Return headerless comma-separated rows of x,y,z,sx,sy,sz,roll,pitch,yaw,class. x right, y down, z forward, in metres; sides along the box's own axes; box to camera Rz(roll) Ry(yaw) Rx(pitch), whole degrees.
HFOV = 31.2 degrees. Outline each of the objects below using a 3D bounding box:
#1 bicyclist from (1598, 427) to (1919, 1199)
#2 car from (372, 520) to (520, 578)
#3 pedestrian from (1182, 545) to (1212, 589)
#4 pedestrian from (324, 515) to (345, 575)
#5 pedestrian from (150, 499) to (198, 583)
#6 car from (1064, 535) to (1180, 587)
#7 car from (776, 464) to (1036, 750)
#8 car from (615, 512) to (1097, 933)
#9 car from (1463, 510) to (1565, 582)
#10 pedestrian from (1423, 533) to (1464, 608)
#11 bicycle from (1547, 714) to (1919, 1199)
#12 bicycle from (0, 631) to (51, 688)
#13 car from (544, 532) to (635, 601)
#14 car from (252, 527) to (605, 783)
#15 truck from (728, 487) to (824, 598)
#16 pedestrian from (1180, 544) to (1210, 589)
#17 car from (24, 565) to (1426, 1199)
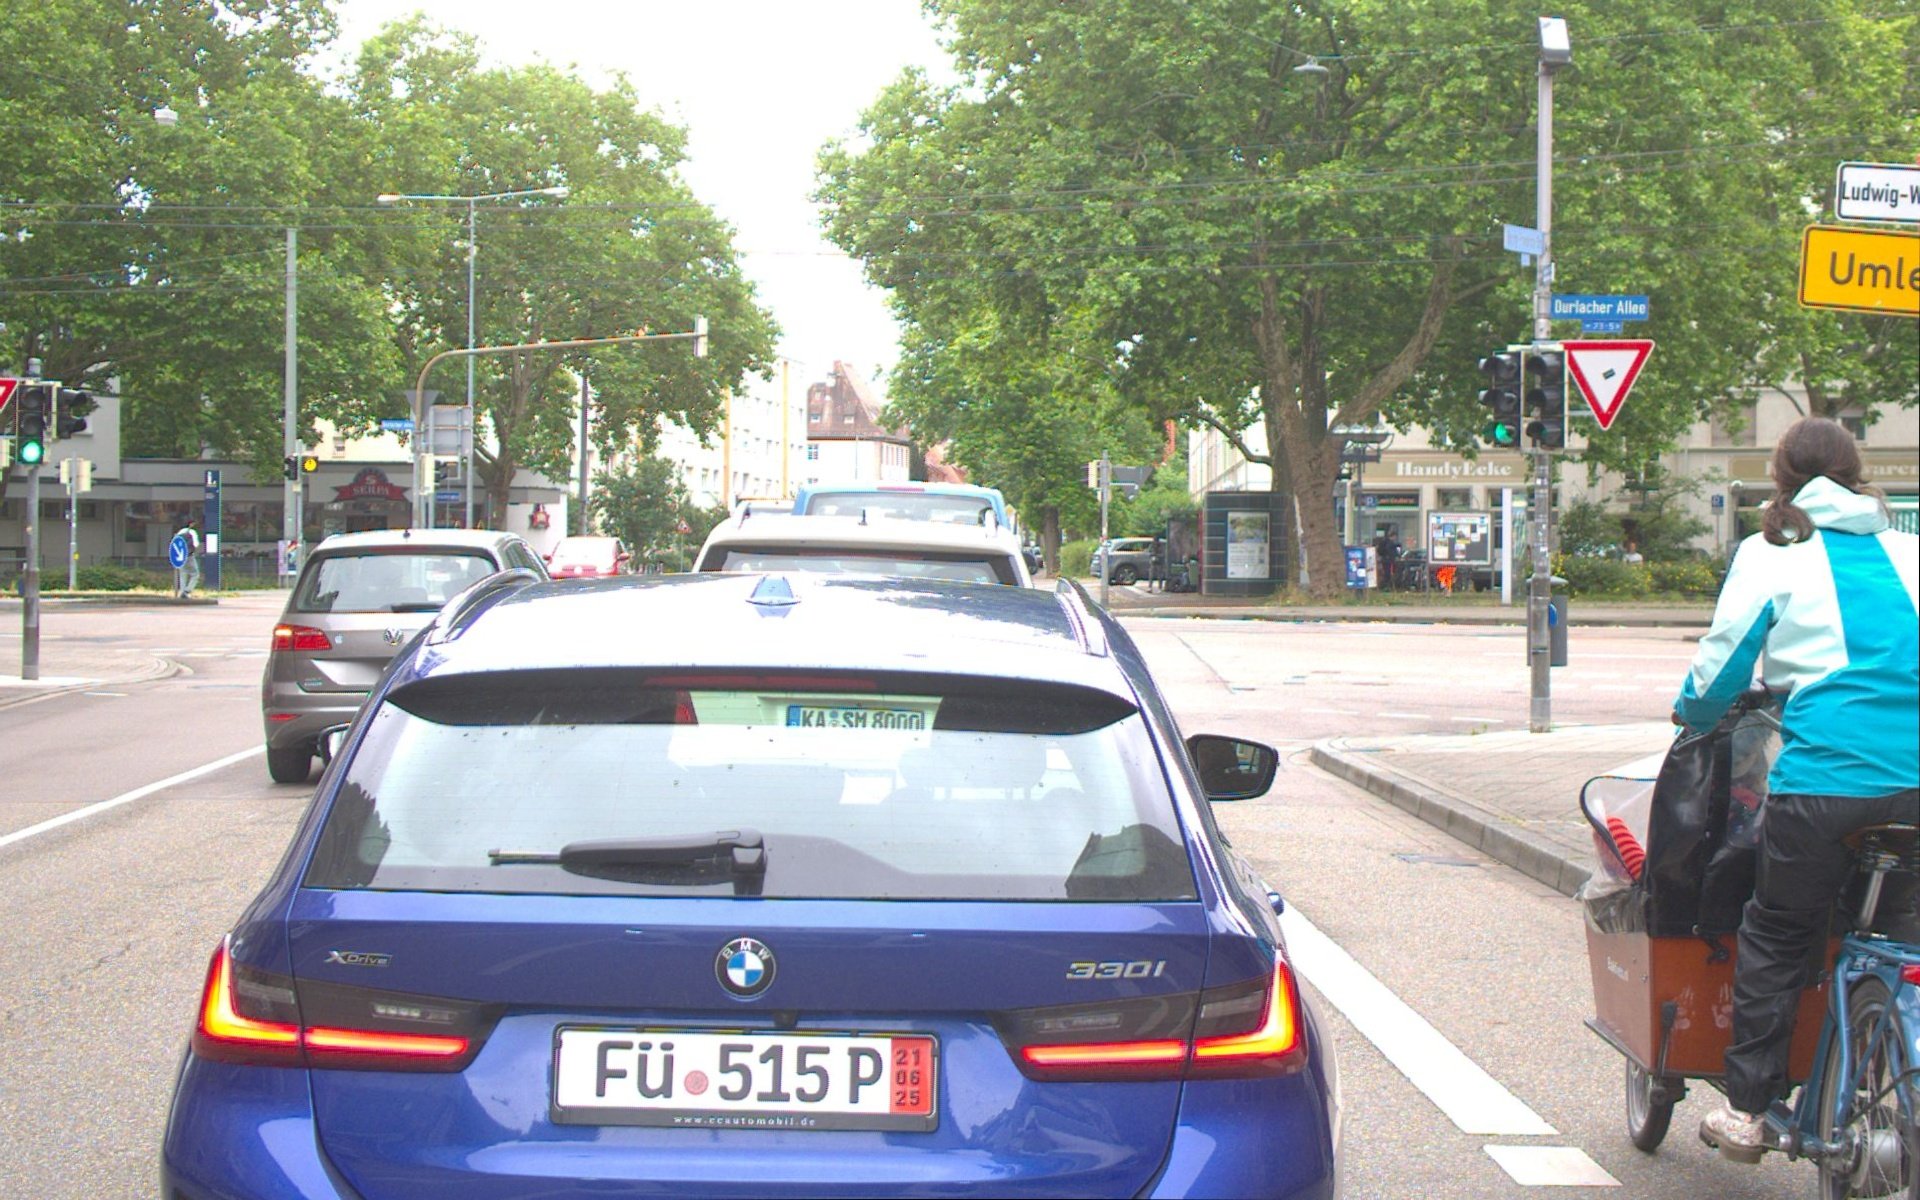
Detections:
1.773,0.414,7.121,0.686,1.512,1.058,0,1,-1,bicyclist
-15.731,-1.549,105.215,3.987,1.700,2.000,0,1,-34,car
7.107,-0.982,103.106,0.853,1.310,0.763,0,1,0,pedestrian
-18.320,-1.618,100.721,0.571,1.765,0.515,0,1,-13,pedestrian
-16.619,-1.249,72.707,0.676,1.765,0.724,1,1,41,pedestrian
5.457,-1.321,115.919,3.883,1.735,1.761,0,1,2,car
-0.403,0.009,26.086,1.815,1.998,4.000,0,1,-1,car
-0.415,0.421,14.983,1.815,1.586,4.000,0,1,-1,car
17.337,-1.696,107.426,2.177,2.193,3.995,1,1,24,car
11.324,-0.695,80.580,0.784,1.737,0.925,0,1,-2,pedestrian
1.698,0.848,7.337,0.494,1.094,2.139,0,1,-1,bicycle
-9.915,0.506,33.399,1.886,0.443,1.029,6,2,-2,bicycle
-8.057,-0.748,75.000,1.649,1.442,3.511,0,1,-1,car
-3.371,0.284,22.461,1.732,1.519,4.000,0,1,-1,car
-4.134,-1.322,77.693,2.074,2.400,5.463,0,1,-2,truck
7.104,-1.019,103.987,0.817,1.367,0.763,0,1,0,pedestrian
-0.330,0.660,6.627,1.815,1.400,4.320,0,1,-1,car
